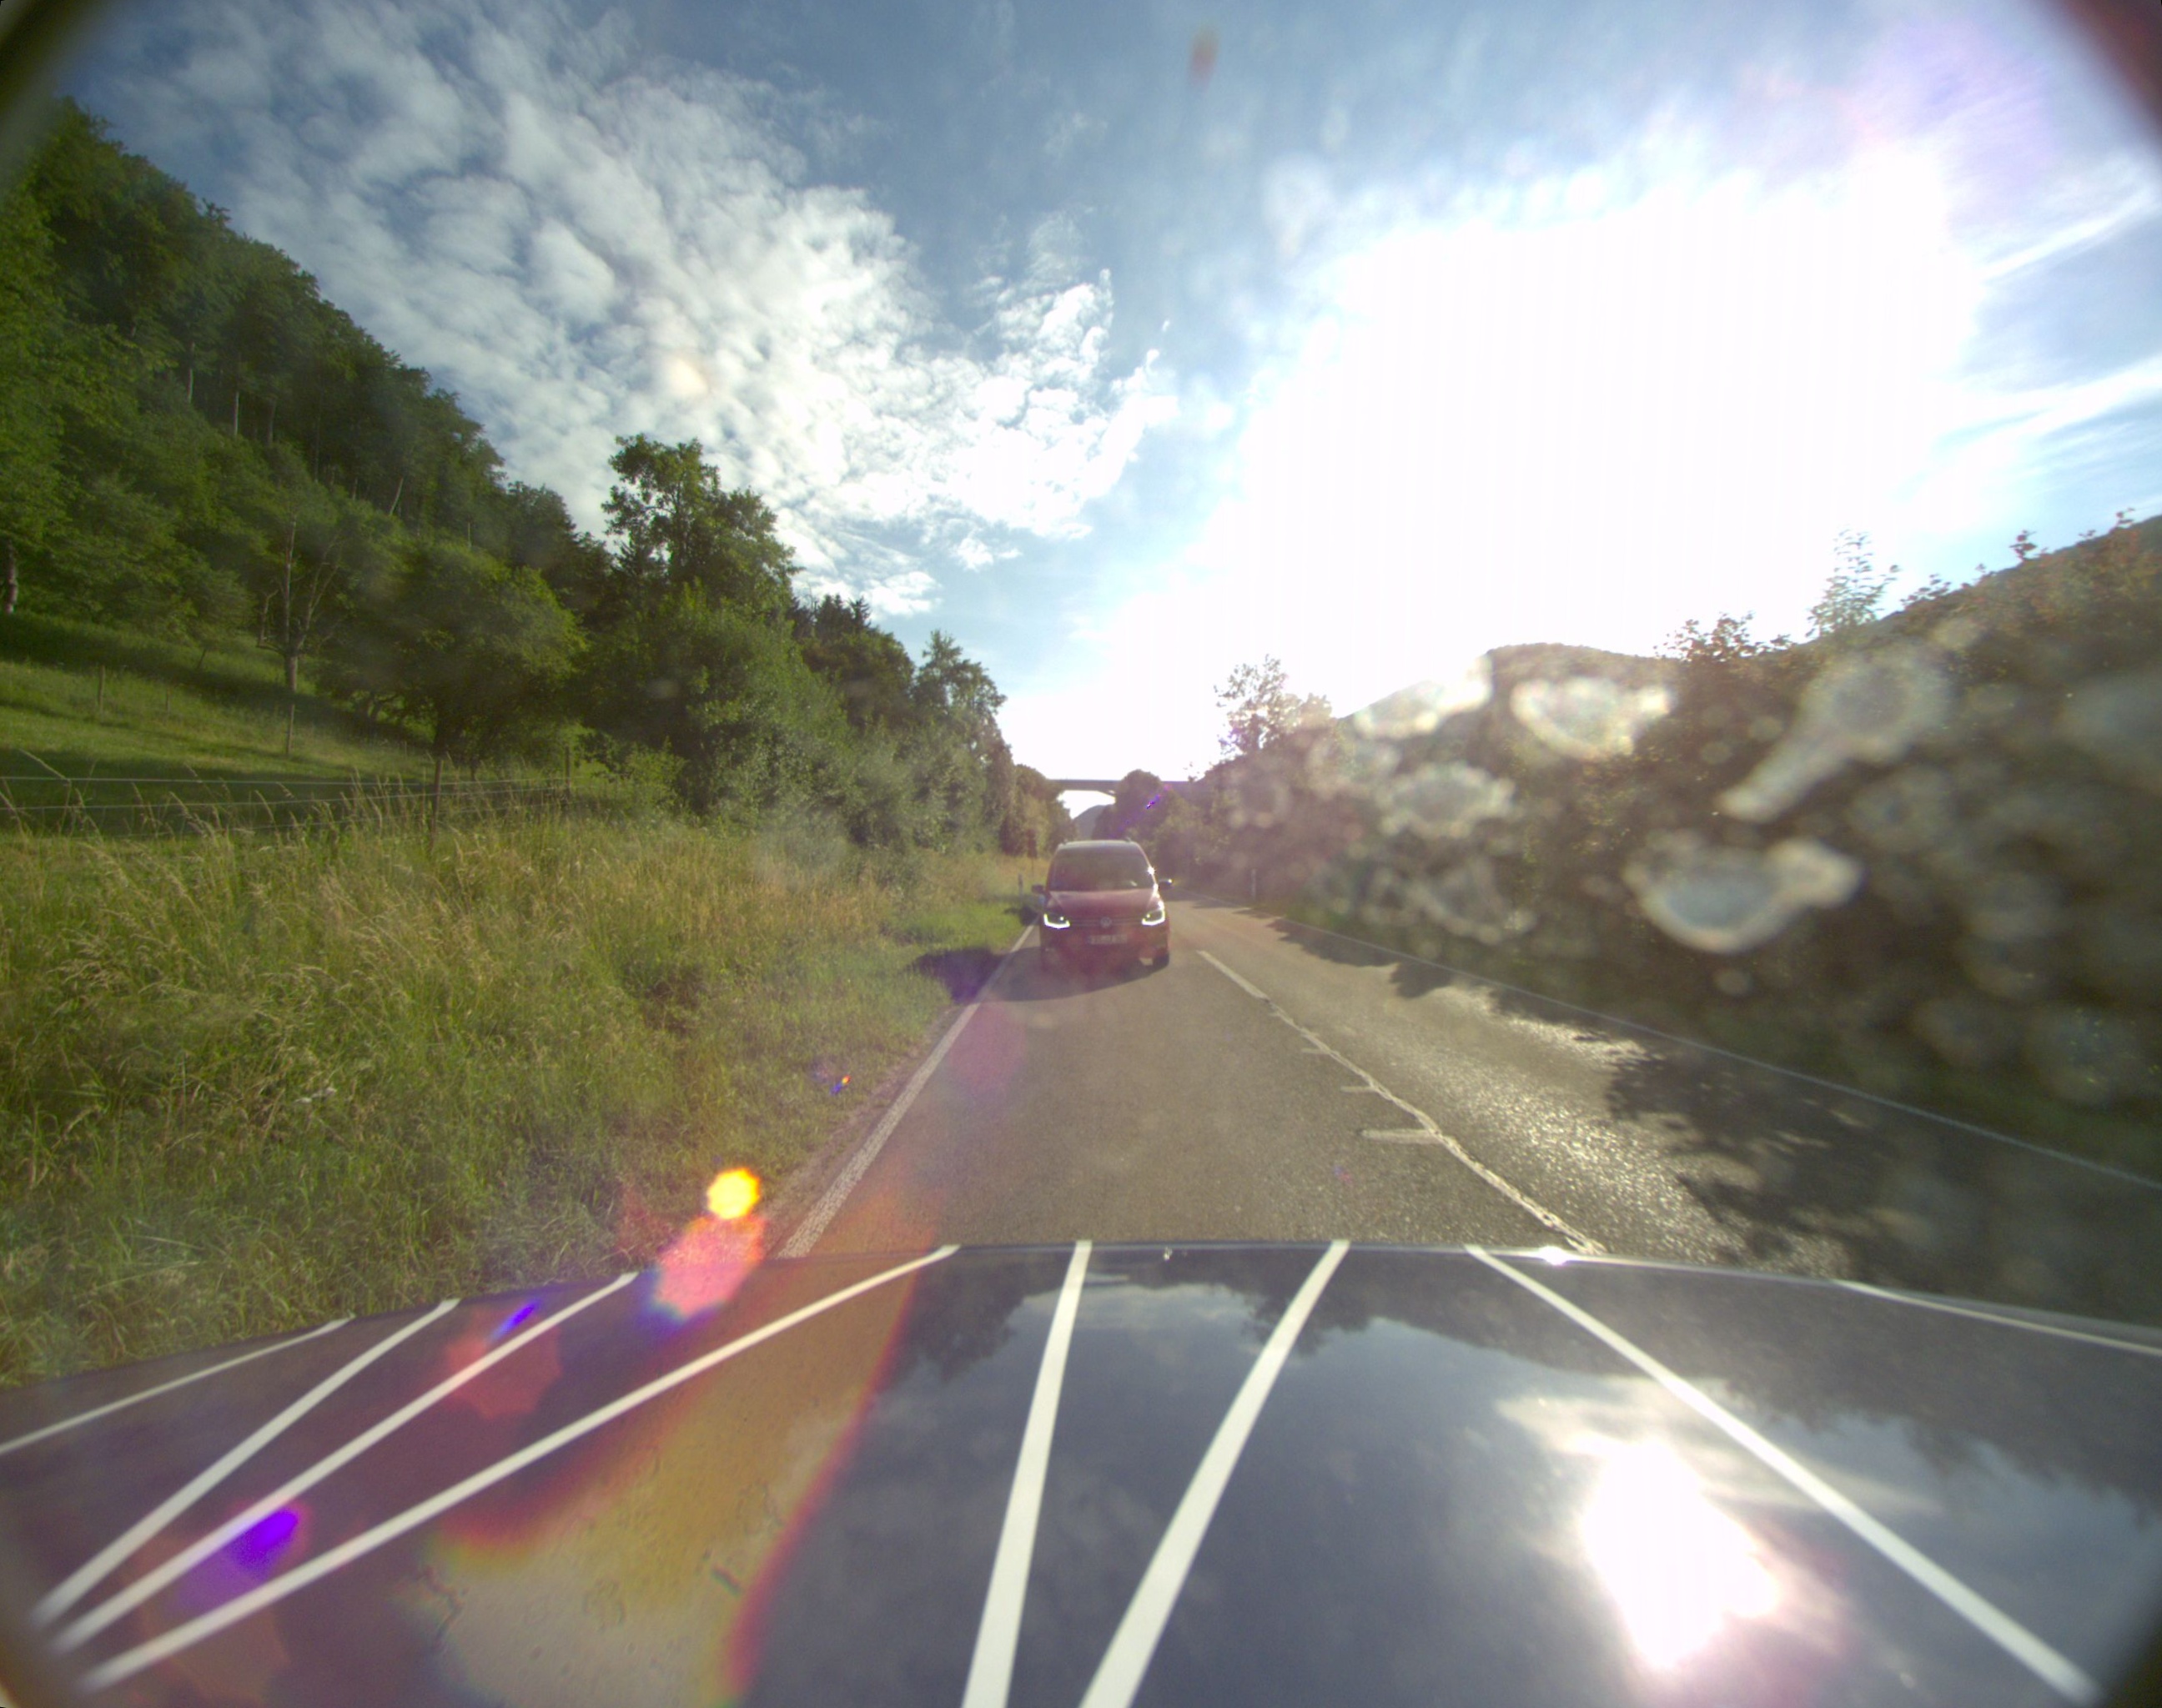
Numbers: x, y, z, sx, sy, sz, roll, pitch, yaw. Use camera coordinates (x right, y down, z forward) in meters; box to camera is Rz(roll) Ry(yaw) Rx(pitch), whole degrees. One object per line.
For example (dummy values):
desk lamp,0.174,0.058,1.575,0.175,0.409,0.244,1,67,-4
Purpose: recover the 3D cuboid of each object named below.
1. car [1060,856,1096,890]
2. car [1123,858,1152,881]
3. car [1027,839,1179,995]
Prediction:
car,-0.149,0.974,41.013,1.753,1.608,4.288,-2,0,0
car,3.646,0.963,49.386,1.631,1.407,3.789,0,0,0
car,0.282,0.736,11.249,1.753,1.799,4.288,-2,1,0
